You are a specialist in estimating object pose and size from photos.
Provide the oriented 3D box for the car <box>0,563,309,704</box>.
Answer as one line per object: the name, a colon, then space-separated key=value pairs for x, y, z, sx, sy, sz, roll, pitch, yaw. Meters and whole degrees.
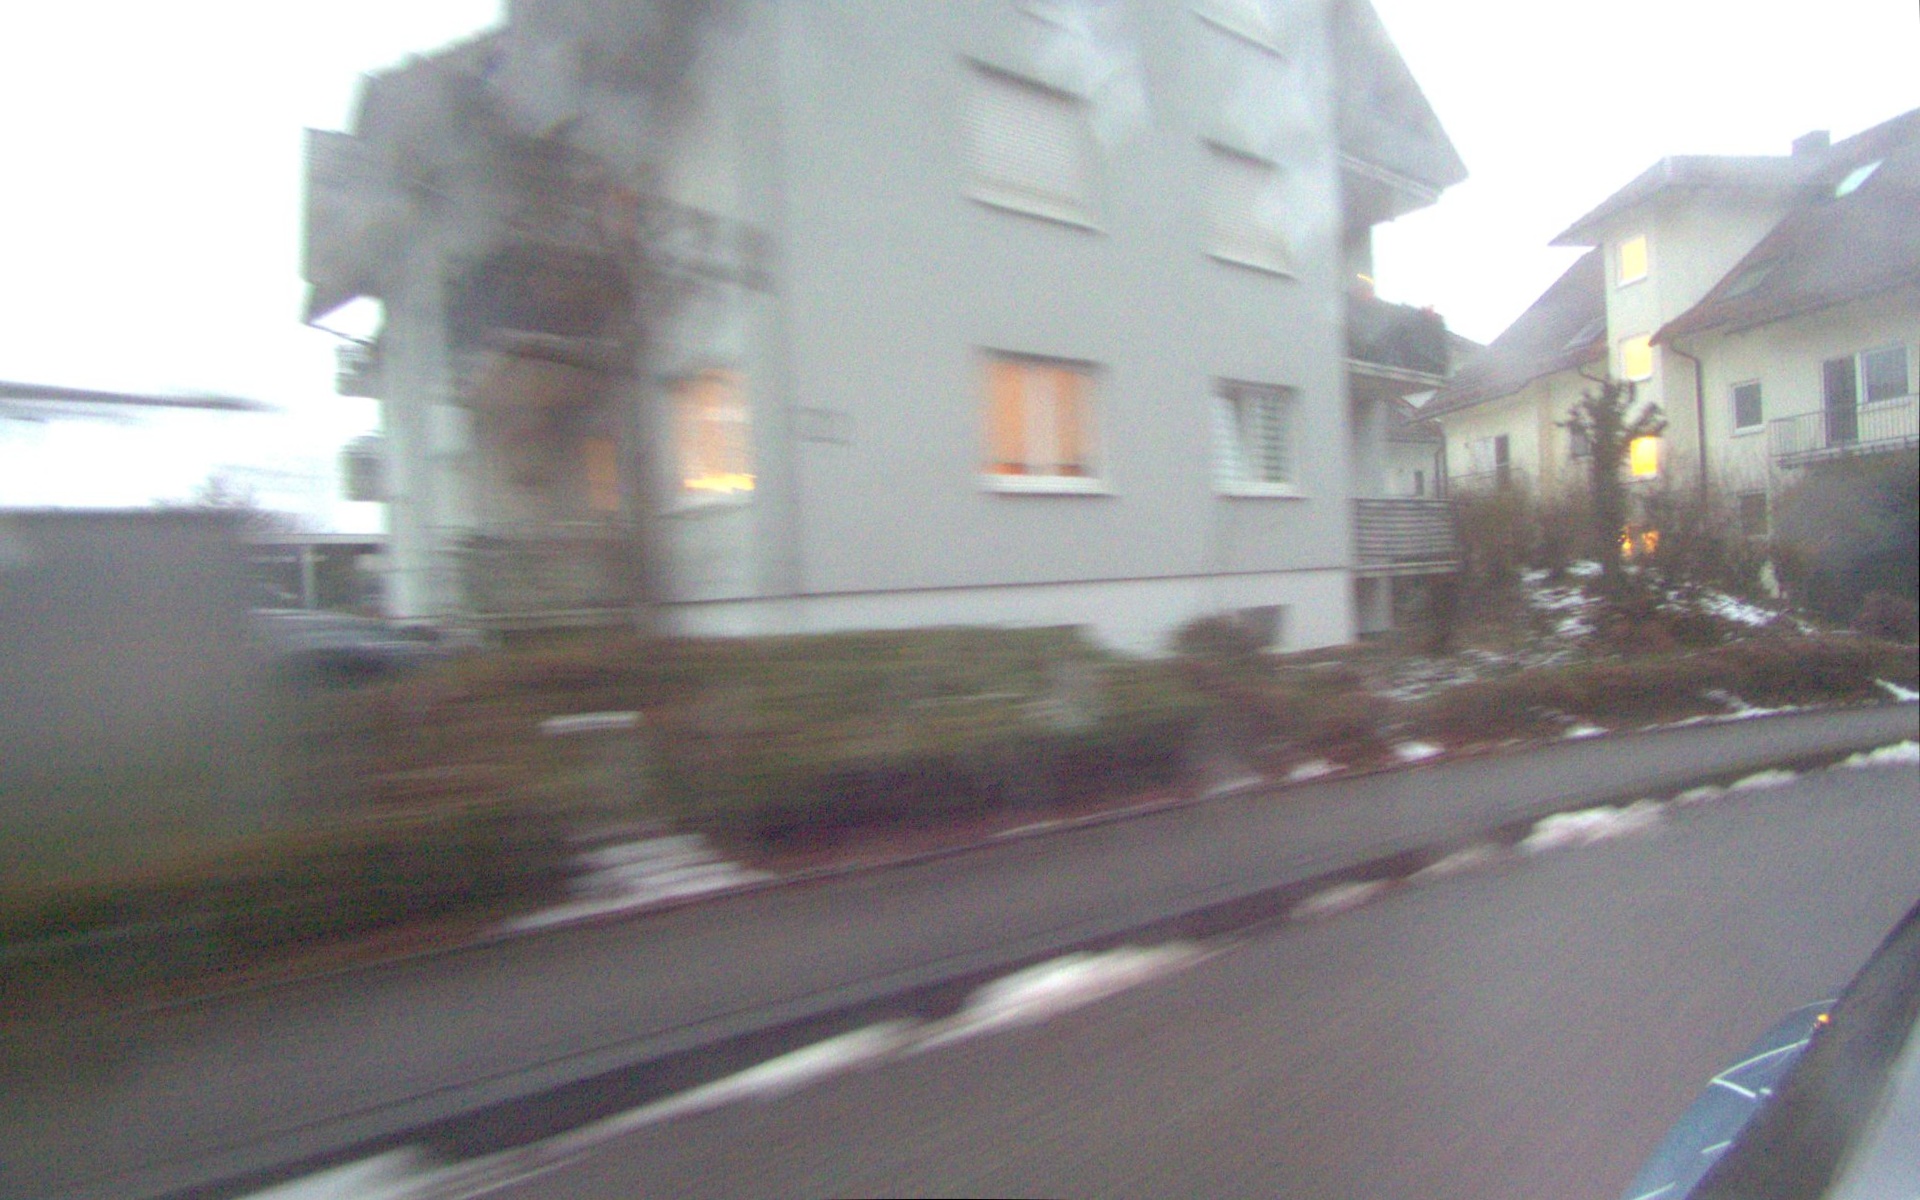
car: x=-10.141 y=0.366 z=12.222 sx=3.684 sy=1.506 sz=1.851 roll=0 pitch=-1 yaw=-39

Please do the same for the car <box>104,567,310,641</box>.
car: x=-17.243 y=0.089 z=23.293 sx=3.684 sy=1.549 sz=1.851 roll=0 pitch=-1 yaw=-39
